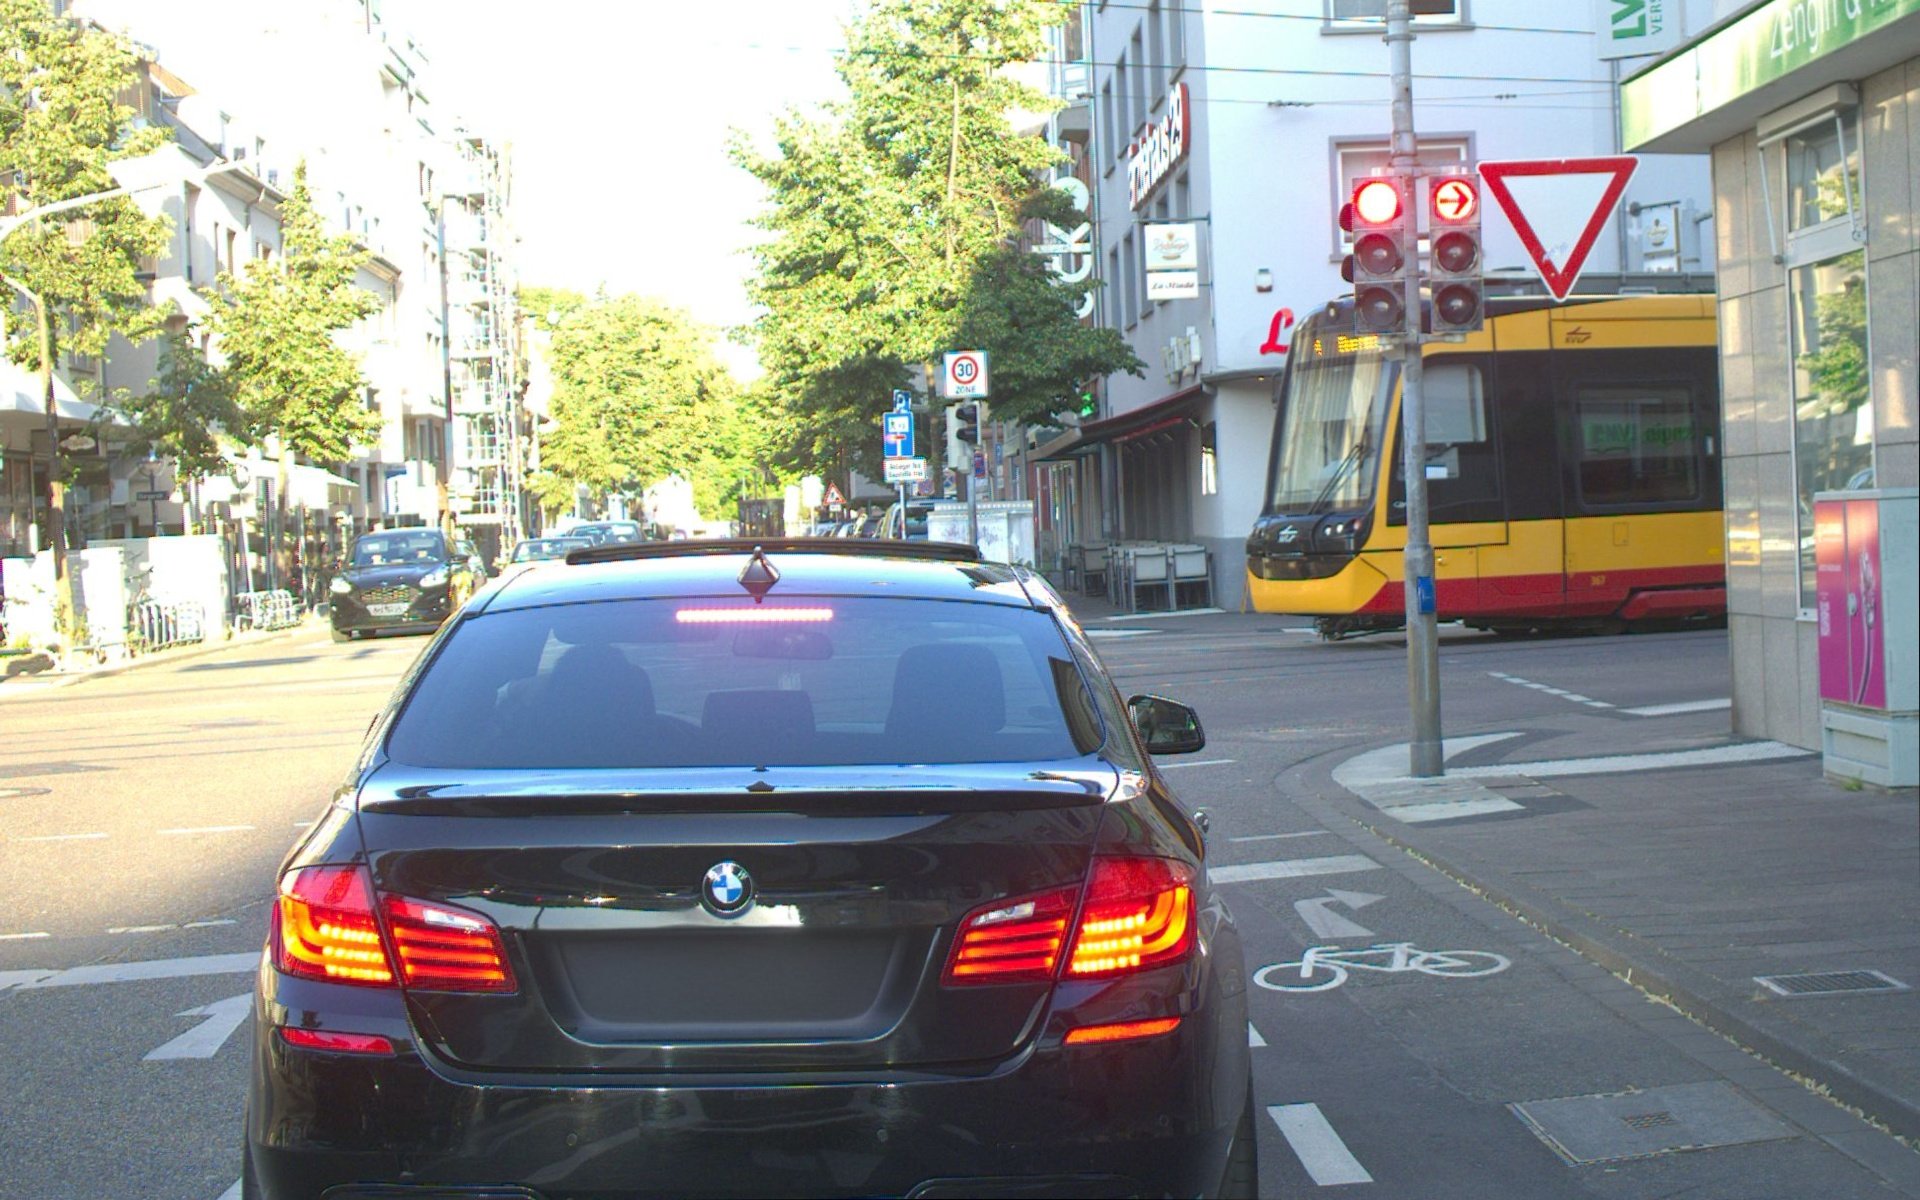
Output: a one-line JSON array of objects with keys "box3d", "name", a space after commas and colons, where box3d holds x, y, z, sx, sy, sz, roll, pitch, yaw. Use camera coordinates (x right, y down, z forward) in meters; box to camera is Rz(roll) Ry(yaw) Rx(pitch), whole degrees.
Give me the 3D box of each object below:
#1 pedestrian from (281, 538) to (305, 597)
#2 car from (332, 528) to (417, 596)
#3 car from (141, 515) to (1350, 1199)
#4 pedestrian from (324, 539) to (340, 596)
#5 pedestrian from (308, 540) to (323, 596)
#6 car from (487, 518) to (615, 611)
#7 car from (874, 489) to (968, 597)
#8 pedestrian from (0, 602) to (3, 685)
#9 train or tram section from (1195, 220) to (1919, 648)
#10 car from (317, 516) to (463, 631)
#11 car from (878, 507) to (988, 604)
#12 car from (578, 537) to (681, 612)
[{"box3d": [-16.033, -0.781, 82.635, 0.444, 1.411, 0.525, -2, 1, -4], "name": "pedestrian"}, {"box3d": [-13.433, -0.896, 79.011, 1.733, 1.456, 4.001, -2, 1, -7], "name": "car"}, {"box3d": [-0.449, 0.587, 7.662, 1.903, 1.535, 4.450, 0, 1, -3], "name": "car"}, {"box3d": [-15.163, -0.780, 82.989, 0.306, 1.354, 0.285, -3, 1, -11], "name": "pedestrian"}, {"box3d": [-15.546, -0.772, 82.918, 0.306, 1.354, 0.285, -3, 1, -11], "name": "pedestrian"}, {"box3d": [-6.880, -0.615, 57.664, 1.993, 1.437, 4.001, -2, 1, -7], "name": "car"}, {"box3d": [-0.706, -1.010, 60.985, 1.421, 1.848, 3.053, -1, 1, -5], "name": "car"}, {"box3d": [-11.525, 0.234, 39.273, 0.945, 1.532, 0.909, -2, 1, -5], "name": "pedestrian"}, {"box3d": [8.544, -1.811, 35.551, 12.616, 3.852, 3.081, -3, 2, -32], "name": "train or tram section"}, {"box3d": [-8.614, -0.424, 52.225, 1.993, 1.612, 4.001, -2, 1, -7], "name": "car"}, {"box3d": [-0.456, -0.706, 54.589, 1.625, 1.466, 3.395, -1, 1, -2], "name": "car"}, {"box3d": [-6.222, -0.505, 64.426, 1.733, 1.288, 4.001, -2, 1, -7], "name": "car"}]
